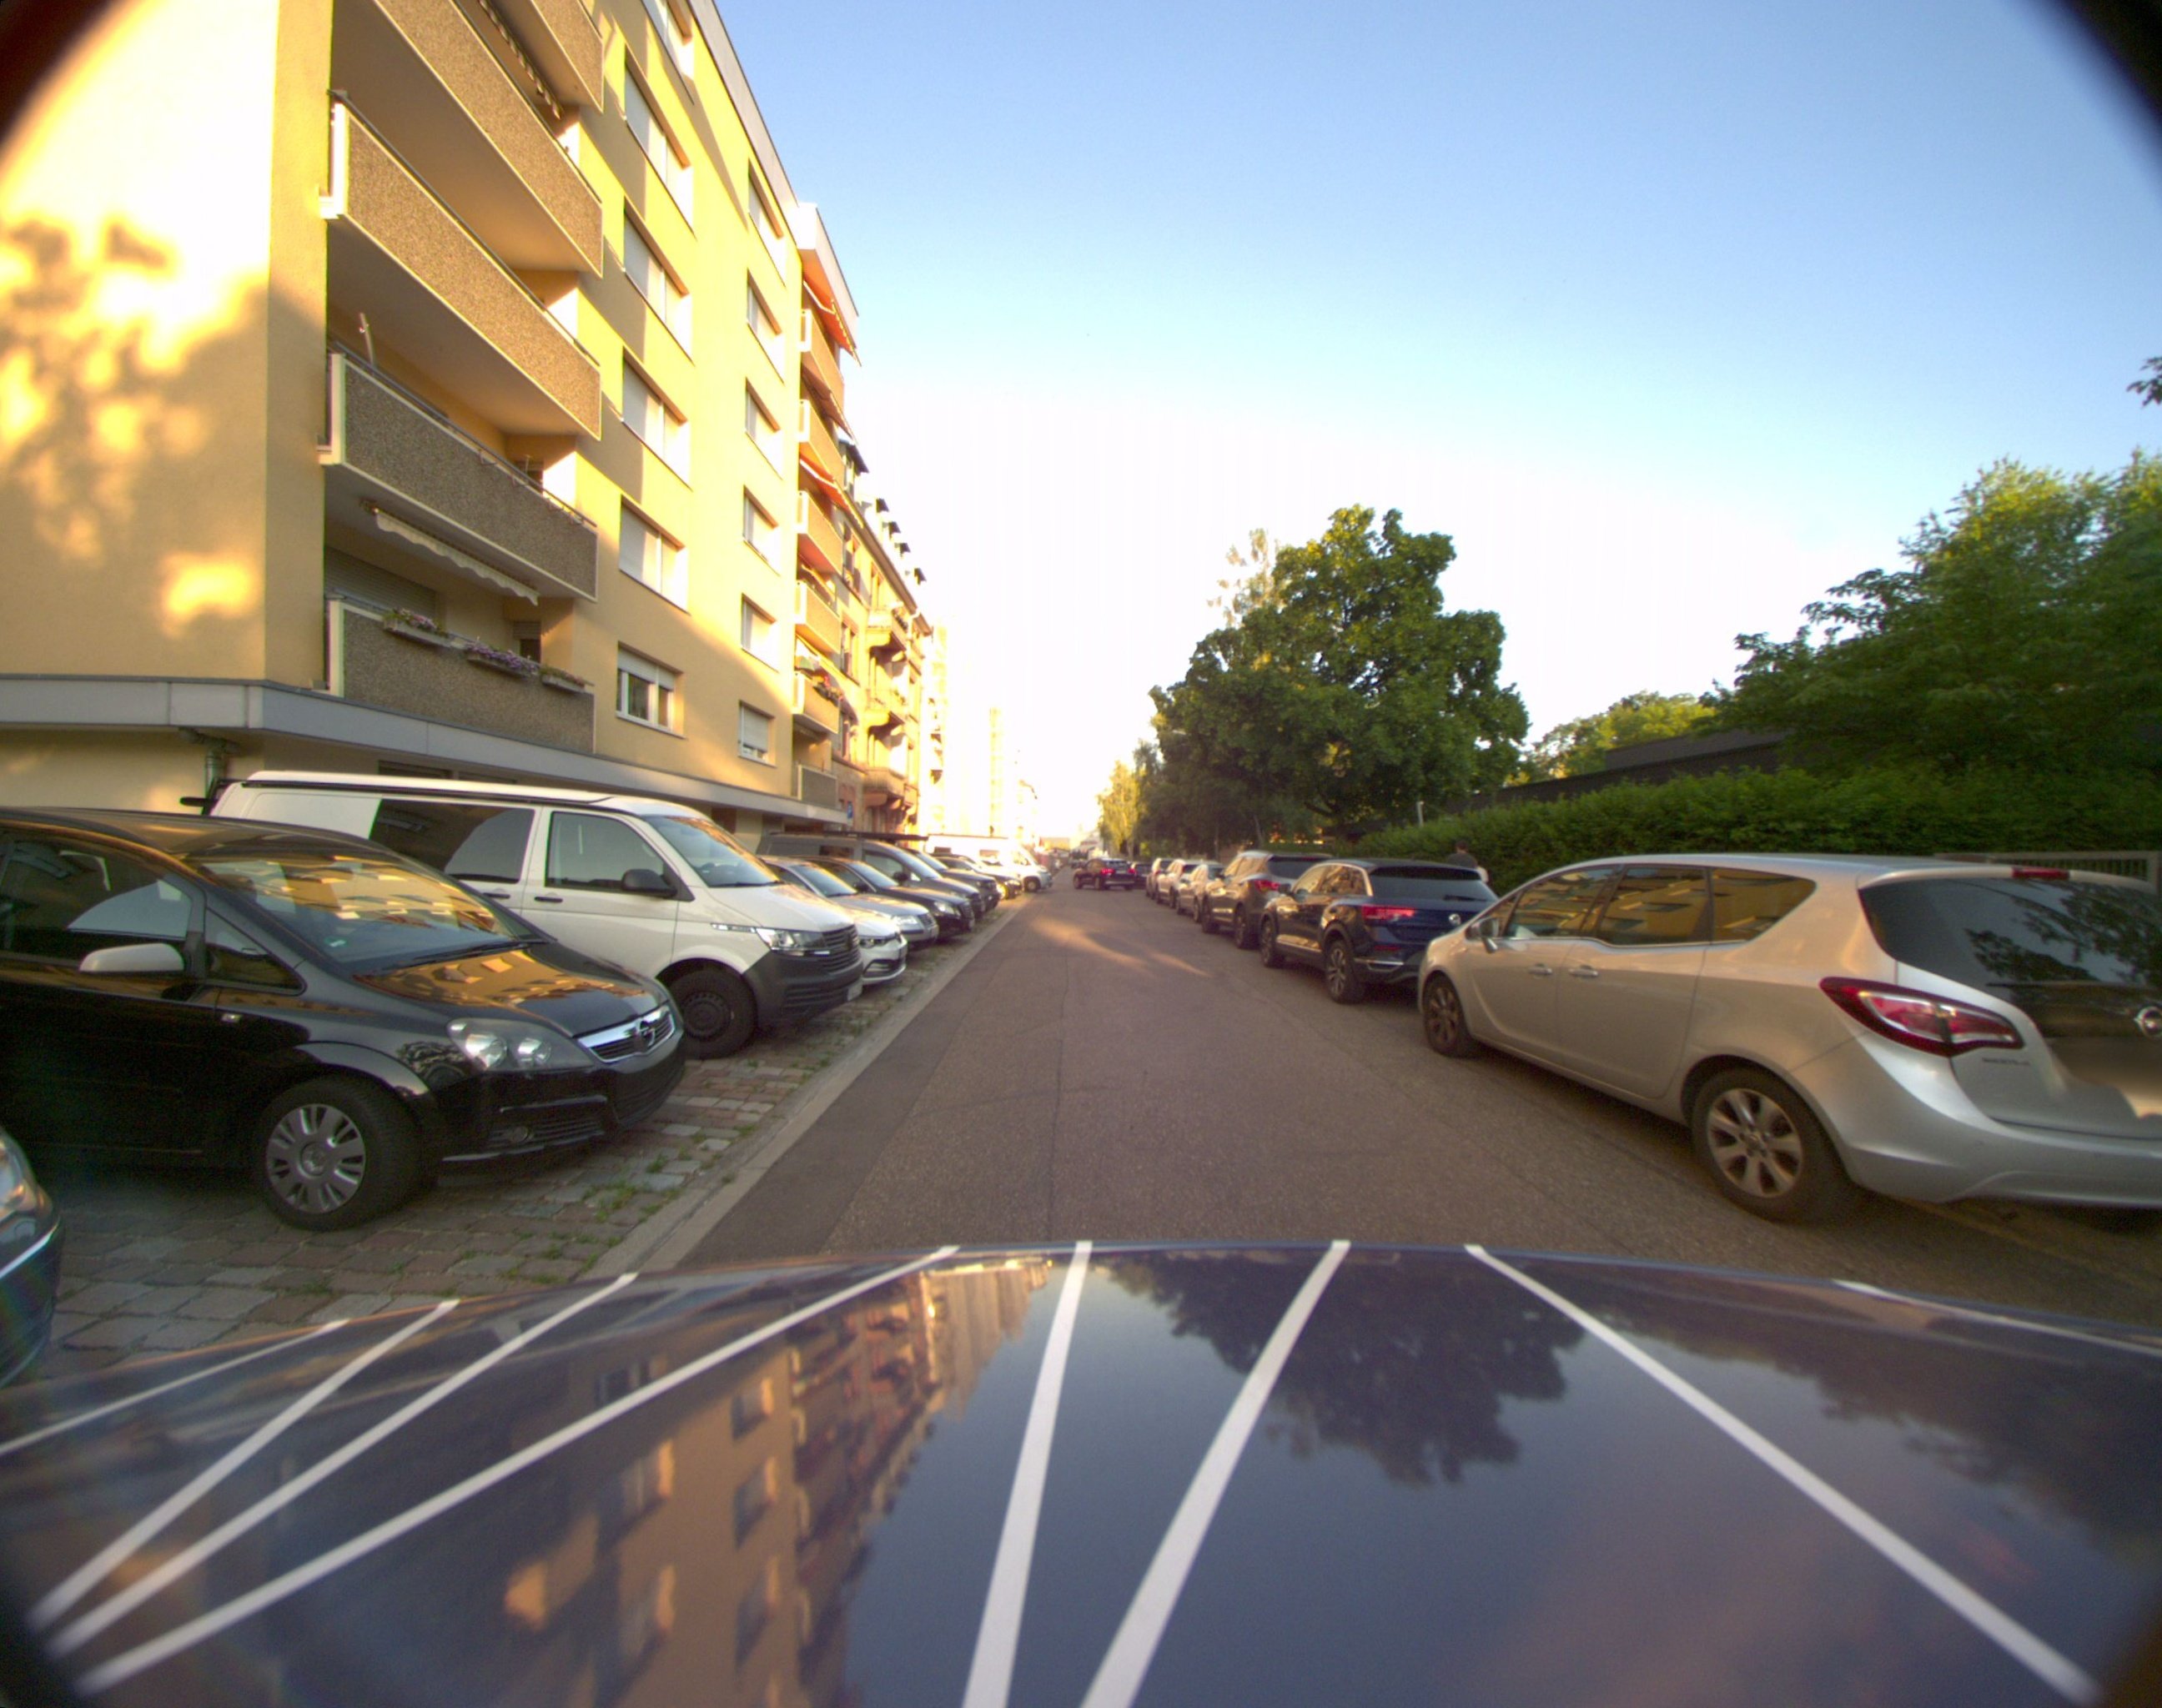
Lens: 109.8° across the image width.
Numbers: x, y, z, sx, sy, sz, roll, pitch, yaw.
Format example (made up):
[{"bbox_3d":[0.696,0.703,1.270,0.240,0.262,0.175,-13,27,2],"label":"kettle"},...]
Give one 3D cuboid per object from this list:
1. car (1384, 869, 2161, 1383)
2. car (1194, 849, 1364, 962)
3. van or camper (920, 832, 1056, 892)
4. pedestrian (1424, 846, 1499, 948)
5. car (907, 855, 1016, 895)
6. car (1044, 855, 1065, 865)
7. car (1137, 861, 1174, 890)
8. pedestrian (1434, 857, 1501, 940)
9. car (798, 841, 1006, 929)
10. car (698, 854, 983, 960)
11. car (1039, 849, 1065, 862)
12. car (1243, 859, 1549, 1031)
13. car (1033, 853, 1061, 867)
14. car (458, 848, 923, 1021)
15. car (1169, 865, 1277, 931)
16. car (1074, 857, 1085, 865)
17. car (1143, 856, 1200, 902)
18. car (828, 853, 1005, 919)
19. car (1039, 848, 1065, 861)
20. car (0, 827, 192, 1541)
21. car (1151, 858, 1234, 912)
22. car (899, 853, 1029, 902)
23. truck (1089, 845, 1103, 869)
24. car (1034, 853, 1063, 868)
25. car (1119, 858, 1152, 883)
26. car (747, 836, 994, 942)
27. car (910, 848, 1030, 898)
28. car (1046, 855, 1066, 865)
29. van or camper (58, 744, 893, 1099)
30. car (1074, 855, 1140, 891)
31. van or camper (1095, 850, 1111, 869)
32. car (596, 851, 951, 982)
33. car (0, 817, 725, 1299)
[{"bbox_3d":[3.605,0.927,4.504,1.738,1.558,4.128,2,0,-3],"label":"car"},{"bbox_3d":[3.419,0.820,14.032,1.738,1.720,4.322,2,0,-3],"label":"car"},{"bbox_3d":[-4.281,0.362,35.708,6.075,2.489,2.050,2,0,0],"label":"van or camper"},{"bbox_3d":[6.752,0.745,13.526,0.901,1.722,0.750,-2,0,-2],"label":"pedestrian"},{"bbox_3d":[-5.095,0.877,32.849,4.414,1.610,1.845,0,2,1],"label":"car"},{"bbox_3d":[-5.252,1.171,150.839,3.997,2.002,2.000,0,0,-1],"label":"car"},{"bbox_3d":[3.989,1.117,41.082,1.624,1.417,3.415,2,0,0],"label":"car"},{"bbox_3d":[7.361,0.831,14.497,0.750,1.499,0.901,-2,0,-2],"label":"pedestrian"},{"bbox_3d":[-4.193,0.713,18.345,4.524,1.852,1.845,2,0,-1],"label":"car"},{"bbox_3d":[-4.079,0.874,13.414,4.415,1.554,1.845,2,2,-1],"label":"car"},{"bbox_3d":[-4.525,0.244,118.416,3.997,2.002,2.000,0,0,-1],"label":"car"},{"bbox_3d":[3.398,0.868,9.180,1.738,1.558,4.166,2,0,-3],"label":"car"},{"bbox_3d":[-4.896,0.921,109.911,3.997,2.002,2.000,0,0,-1],"label":"car"},{"bbox_3d":[-4.248,0.837,8.815,4.415,1.622,1.845,2,2,-1],"label":"car"},{"bbox_3d":[3.527,1.048,19.688,1.738,1.418,4.286,2,0,-3],"label":"car"},{"bbox_3d":[-0.255,1.238,134.975,1.738,1.502,4.291,2,0,-1],"label":"car"},{"bbox_3d":[3.507,0.927,29.997,1.738,1.621,3.980,2,0,0],"label":"car"},{"bbox_3d":[-4.458,0.844,21.045,4.414,1.545,1.845,2,2,2],"label":"car"},{"bbox_3d":[-4.643,0.030,121.569,3.997,2.002,2.000,0,0,-1],"label":"car"},{"bbox_3d":[-4.669,0.681,1.106,4.416,1.652,1.844,3,2,-3],"label":"car"},{"bbox_3d":[3.487,0.939,24.539,1.764,1.534,4.279,2,0,-3],"label":"car"},{"bbox_3d":[-4.184,0.823,27.753,4.414,1.545,1.845,2,2,0],"label":"car"},{"bbox_3d":[2.509,0.512,128.898,2.183,3.860,4.926,0,0,0],"label":"truck"},{"bbox_3d":[-4.515,0.923,107.367,3.997,2.002,2.000,0,0,-1],"label":"car"},{"bbox_3d":[3.357,1.016,47.400,1.738,1.438,3.805,2,0,0],"label":"car"},{"bbox_3d":[-4.299,0.681,16.046,4.649,1.970,1.845,2,2,-1],"label":"car"},{"bbox_3d":[-4.380,0.742,30.322,4.413,1.739,1.845,2,2,3],"label":"car"},{"bbox_3d":[-5.096,1.166,153.267,3.997,2.002,2.000,0,0,-1],"label":"car"},{"bbox_3d":[-4.451,0.493,6.350,5.147,2.155,2.039,4,1,-2],"label":"van or camper"},{"bbox_3d":[1.228,0.908,37.741,1.741,1.621,4.117,2,0,-22],"label":"car"},{"bbox_3d":[2.963,0.755,101.869,1.825,2.400,4.291,2,0,-1],"label":"van or camper"},{"bbox_3d":[-4.277,0.838,11.112,4.415,1.584,1.845,2,2,-1],"label":"car"},{"bbox_3d":[-4.358,0.748,3.695,4.338,1.652,1.780,3,2,-3],"label":"car"}]
